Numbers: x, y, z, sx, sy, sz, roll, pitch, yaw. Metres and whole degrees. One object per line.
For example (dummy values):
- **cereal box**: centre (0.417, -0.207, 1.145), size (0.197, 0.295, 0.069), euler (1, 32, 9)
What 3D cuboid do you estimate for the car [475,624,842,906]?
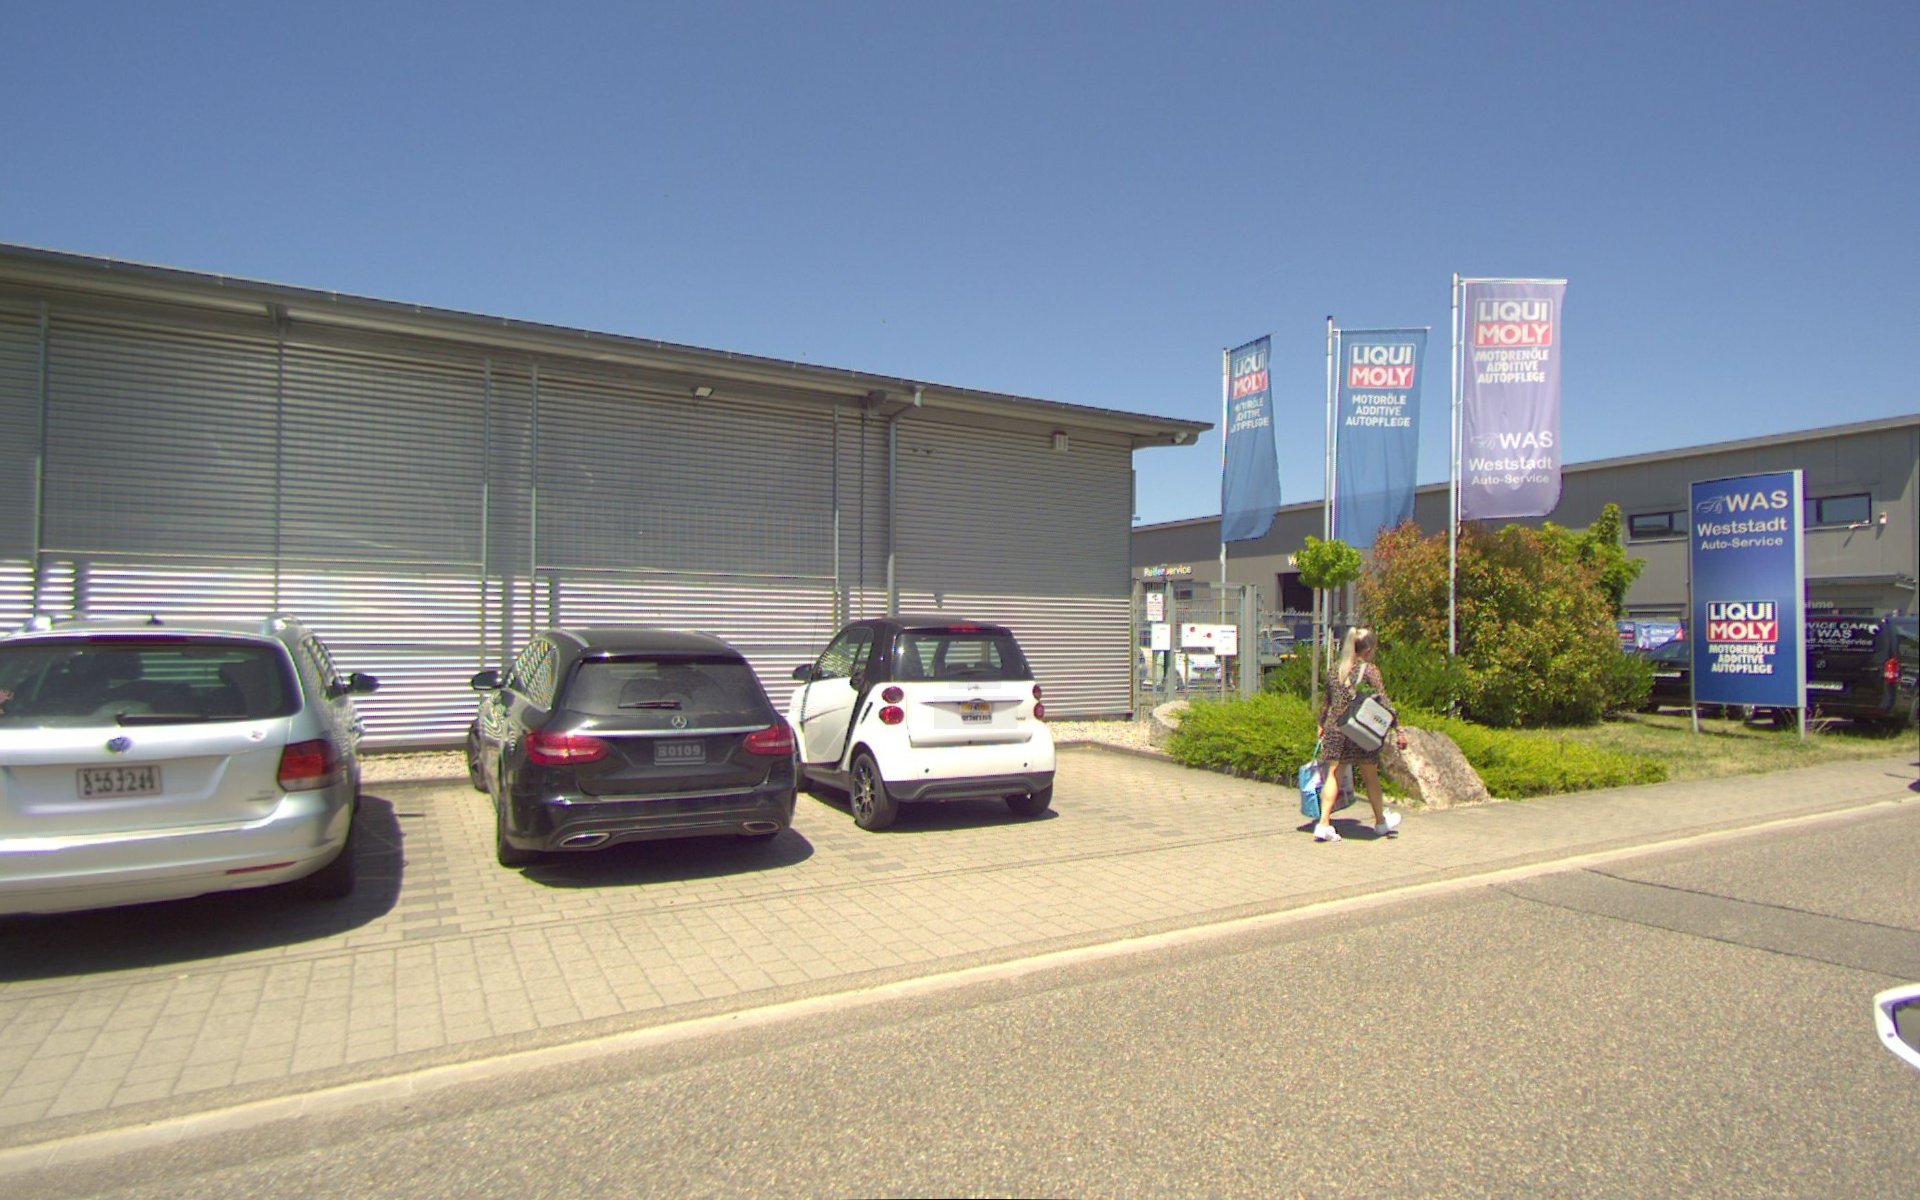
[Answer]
- **car**: centre (-2.520, 0.919, 7.521), size (1.824, 1.450, 4.292), euler (1, -2, -28)

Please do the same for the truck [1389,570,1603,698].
- **truck**: centre (16.905, 1.024, 32.492), size (2.536, 3.604, 8.064), euler (1, -1, -1)

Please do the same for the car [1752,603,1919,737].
- **car**: centre (15.754, 1.129, 17.002), size (5.157, 1.982, 1.984), euler (2, -2, -30)

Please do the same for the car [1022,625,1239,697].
- **car**: centre (3.898, 1.349, 22.751), size (4.713, 1.435, 1.922), euler (2, -1, -30)

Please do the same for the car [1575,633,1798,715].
- **car**: centre (14.752, 1.438, 20.335), size (4.713, 1.435, 1.922), euler (2, -1, -30)

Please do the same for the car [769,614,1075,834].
- **car**: centre (-0.440, 0.918, 8.612), size (1.518, 1.538, 2.728), euler (1, -2, -30)

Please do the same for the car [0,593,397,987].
- **car**: centre (-4.455, 0.797, 5.973), size (1.844, 1.538, 4.242), euler (2, -2, -30)

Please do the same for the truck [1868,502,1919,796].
- **truck**: centre (12.621, 0.524, 10.768), size (6.339, 2.897, 2.352), euler (2, -4, -30)

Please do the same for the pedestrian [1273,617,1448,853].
- **pedestrian**: centre (2.958, 0.940, 7.458), size (0.776, 1.595, 0.895), euler (1, 0, -29)
